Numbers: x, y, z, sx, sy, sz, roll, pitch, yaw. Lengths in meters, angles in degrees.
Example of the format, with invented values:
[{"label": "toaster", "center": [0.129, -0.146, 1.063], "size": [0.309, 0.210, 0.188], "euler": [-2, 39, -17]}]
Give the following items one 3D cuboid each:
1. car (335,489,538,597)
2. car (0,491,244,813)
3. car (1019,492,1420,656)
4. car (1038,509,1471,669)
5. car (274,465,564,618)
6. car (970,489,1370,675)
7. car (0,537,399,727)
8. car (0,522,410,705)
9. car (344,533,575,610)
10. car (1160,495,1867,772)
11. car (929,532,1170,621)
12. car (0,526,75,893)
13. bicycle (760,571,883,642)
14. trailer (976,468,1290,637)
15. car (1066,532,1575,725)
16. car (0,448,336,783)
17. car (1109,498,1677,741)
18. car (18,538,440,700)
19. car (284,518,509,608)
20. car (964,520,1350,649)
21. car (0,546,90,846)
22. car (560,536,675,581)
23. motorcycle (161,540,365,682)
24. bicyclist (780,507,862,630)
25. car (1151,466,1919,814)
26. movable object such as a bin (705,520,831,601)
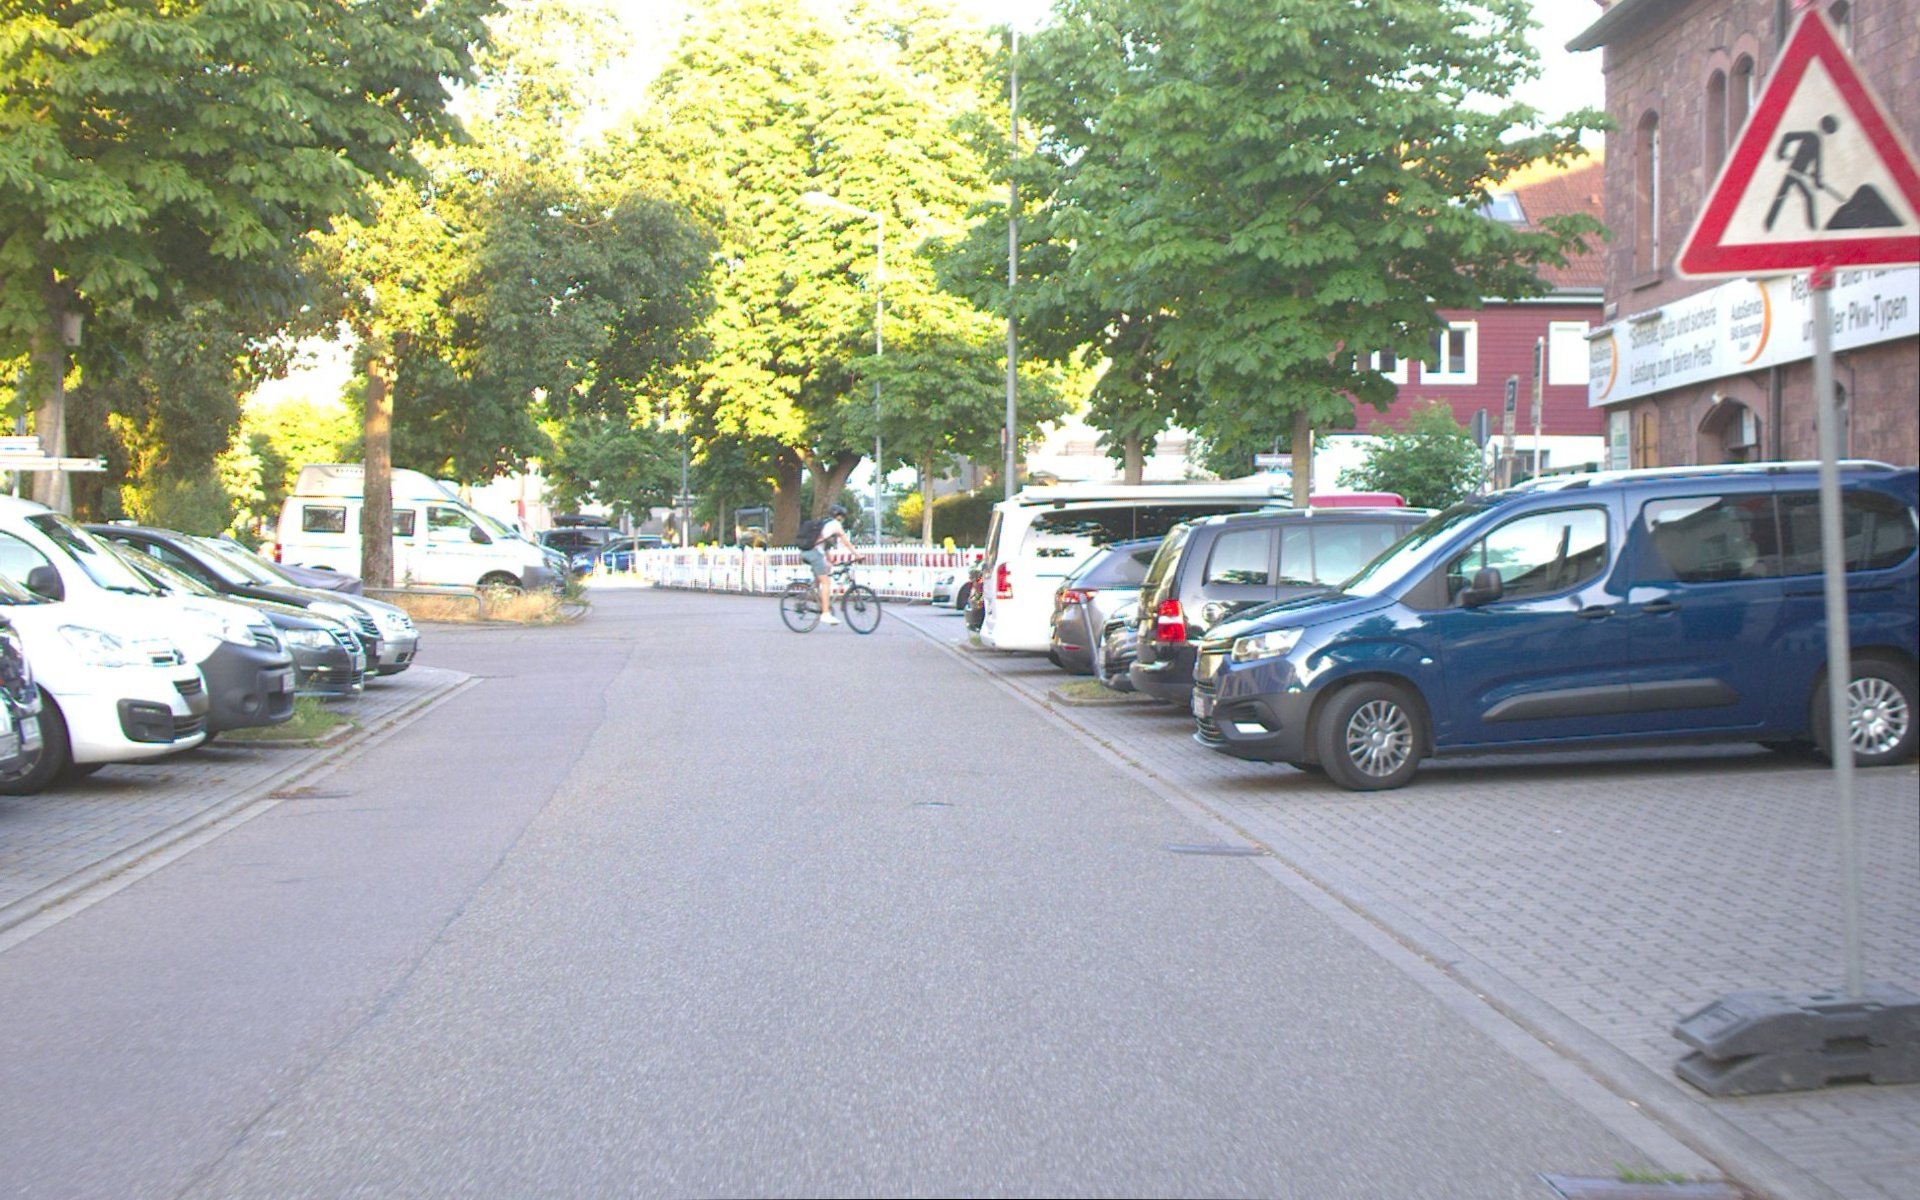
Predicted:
[{"label": "car", "center": [-11.940, -1.292, 78.349], "size": [4.501, 2.422, 2.001], "euler": [0, 1, -10]}, {"label": "car", "center": [-6.699, 0.222, 20.461], "size": [4.421, 1.796, 1.943], "euler": [2, 1, 0]}, {"label": "car", "center": [2.877, -0.297, 38.772], "size": [4.300, 1.793, 1.904], "euler": [0, 1, -3]}, {"label": "car", "center": [2.813, -0.116, 33.459], "size": [3.986, 1.504, 1.776], "euler": [0, 1, -3]}, {"label": "car", "center": [-9.280, -1.002, 59.266], "size": [4.731, 2.561, 2.000], "euler": [0, 1, -2]}, {"label": "car", "center": [2.162, -0.198, 36.266], "size": [3.986, 1.897, 2.000], "euler": [0, 1, -3]}, {"label": "car", "center": [-6.945, 0.223, 28.286], "size": [4.326, 1.400, 1.851], "euler": [2, 1, -1]}, {"label": "car", "center": [-7.040, 0.104, 30.728], "size": [3.987, 1.578, 1.729], "euler": [0, 1, -1]}, {"label": "car", "center": [-9.517, -0.545, 65.594], "size": [4.243, 1.389, 1.684], "euler": [1, 0, -4]}, {"label": "car", "center": [3.733, 0.187, 23.711], "size": [4.414, 1.569, 1.982], "euler": [-3, 2, -3]}, {"label": "car", "center": [1.572, -0.424, 59.268], "size": [3.988, 1.483, 1.813], "euler": [0, 1, 7]}, {"label": "car", "center": [-6.376, 0.423, 15.600], "size": [4.243, 1.615, 1.813], "euler": [2, 1, -2]}, {"label": "bicycle", "center": [-1.952, 0.083, 48.715], "size": [1.858, 0.995, 0.374], "euler": [0, 1, -37]}, {"label": "trailer", "center": [2.257, -0.628, 45.678], "size": [3.986, 2.180, 2.000], "euler": [0, 1, -3]}, {"label": "car", "center": [2.977, 0.223, 28.894], "size": [3.945, 1.560, 1.821], "euler": [0, 1, -6]}, {"label": "car", "center": [-6.707, 0.001, 23.220], "size": [4.512, 2.063, 2.000], "euler": [3, 2, 1]}, {"label": "car", "center": [3.263, 0.128, 26.428], "size": [3.986, 1.613, 1.895], "euler": [-3, 1, -3]}, {"label": "car", "center": [-6.985, 0.164, 33.110], "size": [3.713, 1.501, 1.690], "euler": [0, 1, -1]}, {"label": "car", "center": [-12.006, -0.787, 73.244], "size": [4.672, 1.867, 2.001], "euler": [0, 1, -10]}, {"label": "car", "center": [2.307, -0.194, 41.066], "size": [4.426, 1.494, 1.773], "euler": [0, 1, -3]}, {"label": "car", "center": [-6.825, 0.372, 18.163], "size": [3.986, 1.479, 1.756], "euler": [3, 1, -3]}, {"label": "car", "center": [-12.945, -1.567, 130.083], "size": [3.986, 1.645, 1.765], "euler": [0, 1, -22]}, {"label": "motorcycle", "center": [-7.071, 0.108, 34.949], "size": [1.985, 1.431, 0.722], "euler": [0, 1, -7]}, {"label": "bicyclist", "center": [-1.971, -0.442, 48.670], "size": [0.837, 1.720, 0.801], "euler": [0, 1, -38]}, {"label": "car", "center": [3.702, 0.193, 20.973], "size": [4.786, 1.748, 2.018], "euler": [-3, 2, -3]}, {"label": "movable object such as a bin", "center": [-5.850, -1.200, 103.878], "size": [2.627, 2.394, 5.199], "euler": [0, 1, -17]}]
